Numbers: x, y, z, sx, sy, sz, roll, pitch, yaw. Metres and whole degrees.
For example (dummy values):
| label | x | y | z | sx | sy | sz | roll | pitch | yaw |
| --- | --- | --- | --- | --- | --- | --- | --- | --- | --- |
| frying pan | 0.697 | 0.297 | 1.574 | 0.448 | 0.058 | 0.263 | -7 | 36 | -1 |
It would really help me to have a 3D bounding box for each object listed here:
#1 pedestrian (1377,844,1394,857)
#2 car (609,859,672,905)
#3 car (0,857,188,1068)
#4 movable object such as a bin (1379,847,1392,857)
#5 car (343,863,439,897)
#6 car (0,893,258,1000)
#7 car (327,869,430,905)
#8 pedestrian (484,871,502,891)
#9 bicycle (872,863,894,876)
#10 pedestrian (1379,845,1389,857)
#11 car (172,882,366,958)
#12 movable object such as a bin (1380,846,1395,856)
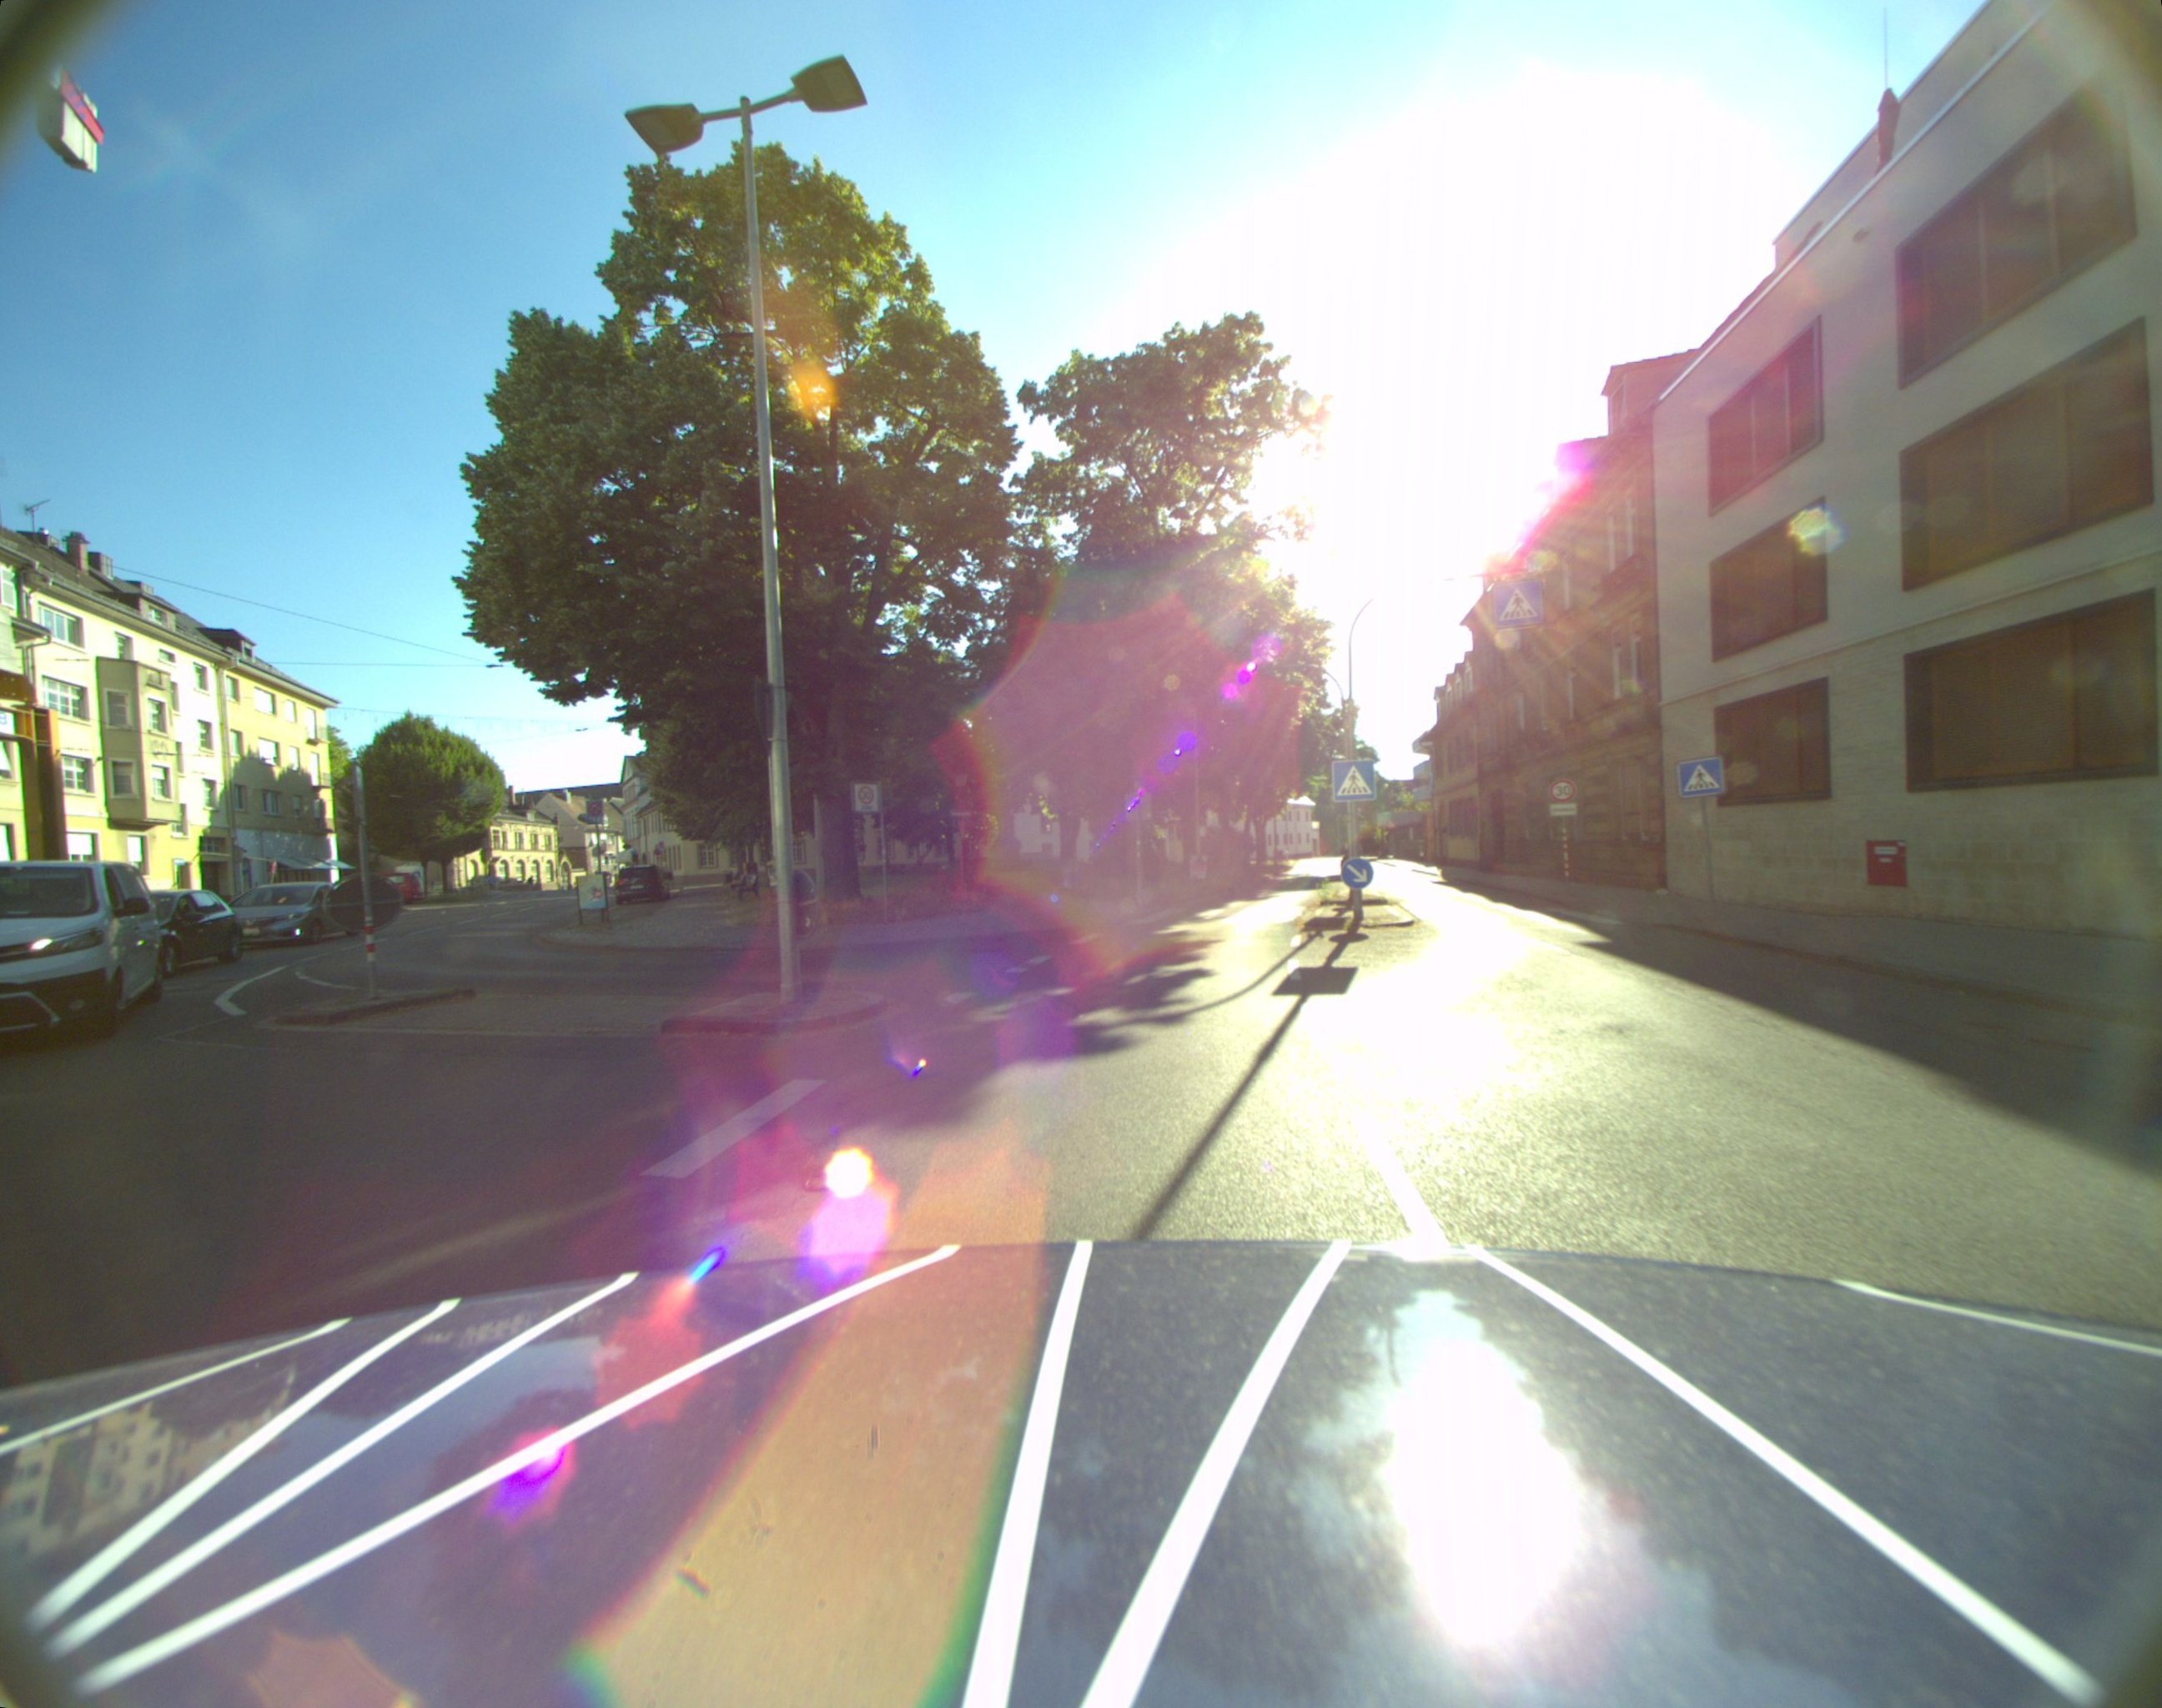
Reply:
| label | x | y | z | sx | sy | sz | roll | pitch | yaw |
| --- | --- | --- | --- | --- | --- | --- | --- | --- | --- |
| pedestrian | 29.832 | -0.337 | 74.466 | 0.842 | 1.222 | 1.155 | -5 | 0 | -39 |
| car | -19.262 | 1.171 | 33.403 | 2.002 | 1.784 | 3.991 | -4 | 1 | -26 |
| car | -11.540 | 1.055 | 8.200 | 2.004 | 1.843 | 4.889 | -2 | 0 | -45 |
| movable object such as a bin | 32.332 | -0.205 | 80.608 | 1.036 | 0.923 | 0.841 | -4 | 0 | 10 |
| car | -43.530 | 1.617 | 48.062 | 4.077 | 1.910 | 1.996 | -2 | 0 | -29 |
| car | -16.680 | 1.487 | 13.353 | 2.003 | 1.436 | 4.062 | -2 | 0 | -33 |
| car | -41.805 | 1.947 | 45.320 | 4.077 | 1.910 | 1.996 | -2 | 0 | -29 |
| pedestrian | -60.295 | 2.789 | 77.942 | 1.358 | 2.002 | 1.155 | -3 | 1 | -35 |
| bicycle | -17.280 | 1.365 | 66.204 | 1.765 | 1.026 | 0.721 | -2 | 1 | -22 |
| pedestrian | 32.157 | -0.322 | 80.646 | 0.742 | 1.179 | 0.841 | -4 | 0 | 10 |
| car | -19.728 | 1.506 | 18.734 | 2.003 | 1.510 | 4.063 | -2 | 0 | -28 |
| movable object such as a bin | 29.943 | -0.298 | 74.325 | 0.842 | 0.923 | 1.035 | -4 | 0 | -39 |
